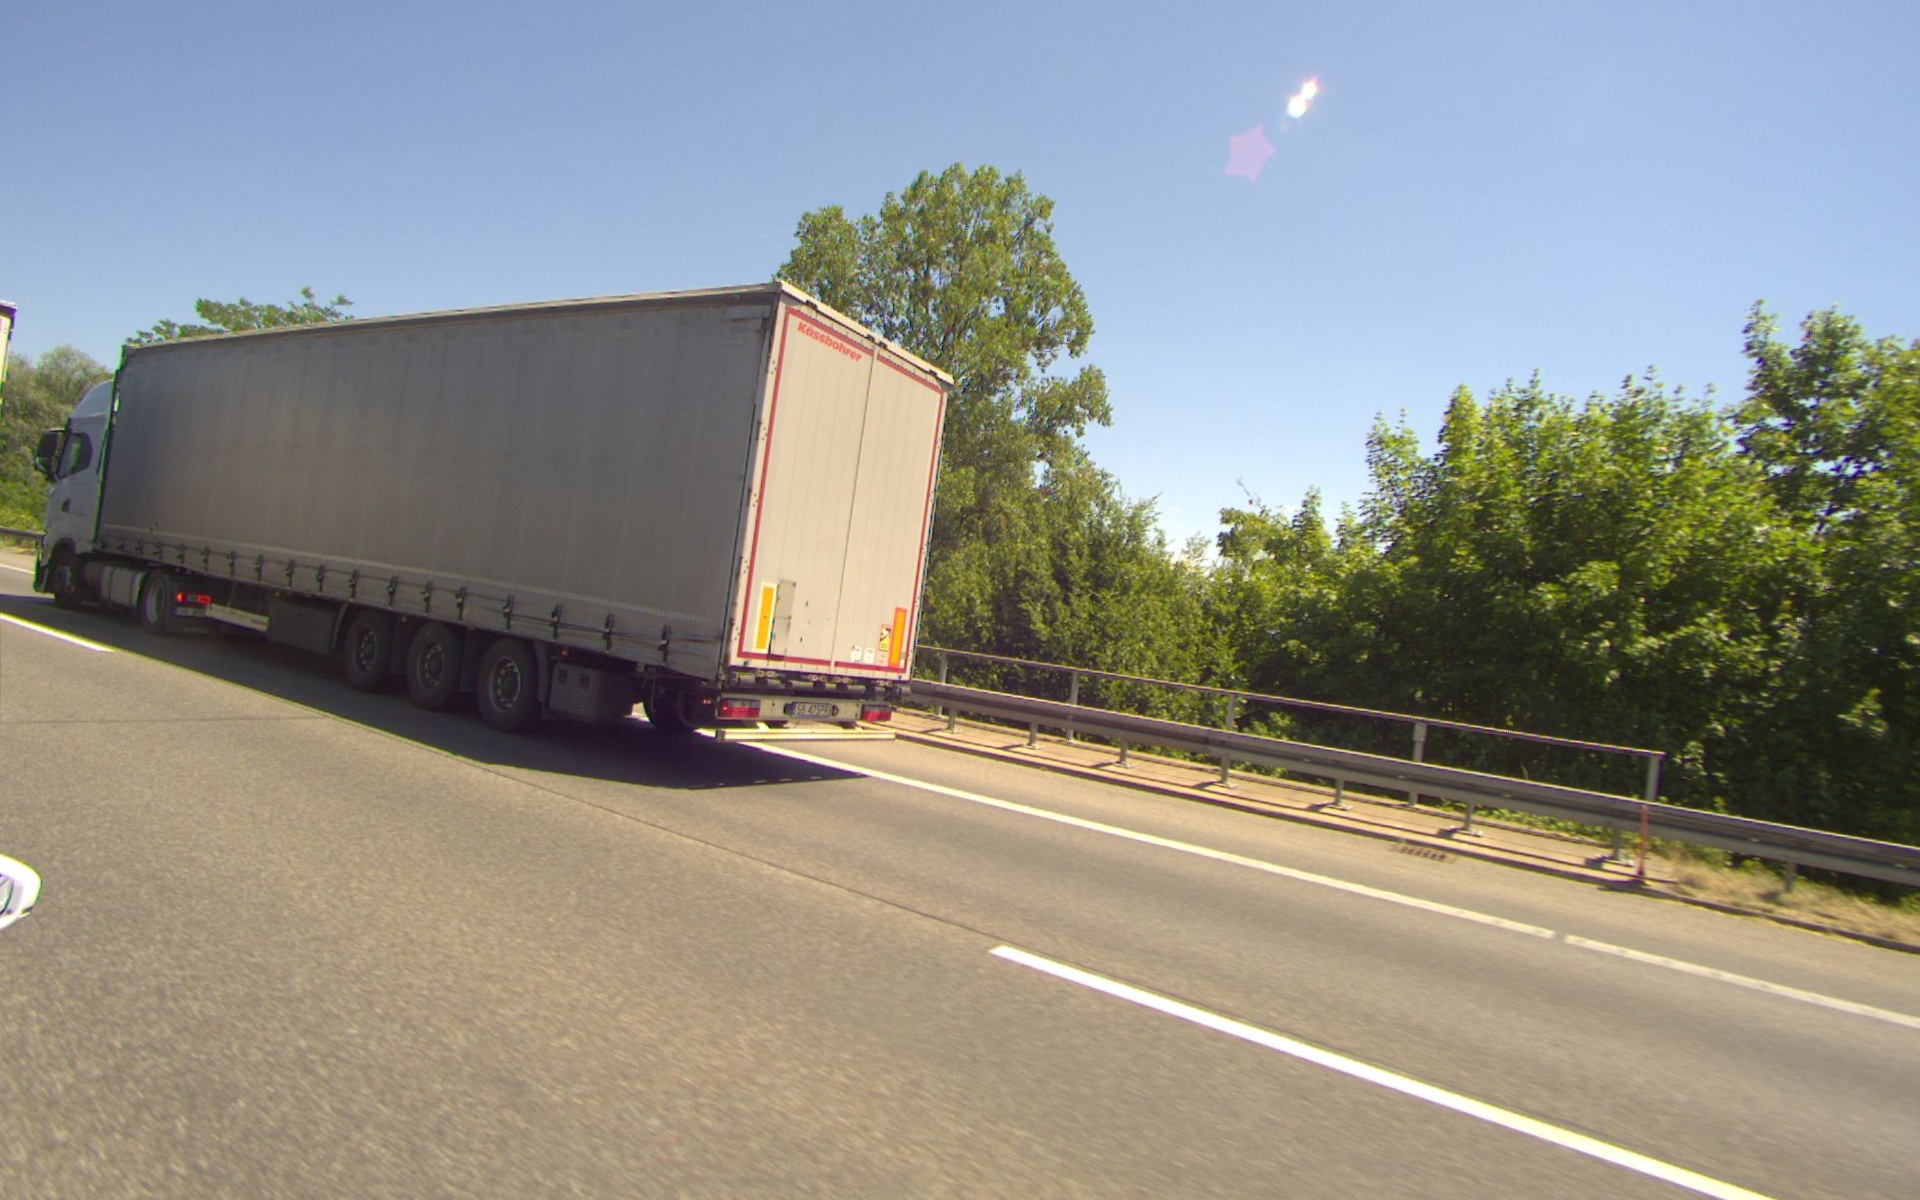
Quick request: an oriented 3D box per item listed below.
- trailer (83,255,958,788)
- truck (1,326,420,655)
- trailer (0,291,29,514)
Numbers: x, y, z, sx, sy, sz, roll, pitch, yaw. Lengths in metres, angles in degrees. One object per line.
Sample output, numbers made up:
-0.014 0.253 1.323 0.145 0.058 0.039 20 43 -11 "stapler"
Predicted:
-6.438 -1.068 12.436 13.023 4.166 2.705 6 -2 32 "trailer"
-12.107 -1.676 16.061 6.876 4.166 2.705 6 -2 32 "truck"
-17.966 -2.496 14.987 11.932 4.166 2.705 6 -2 32 "trailer"
